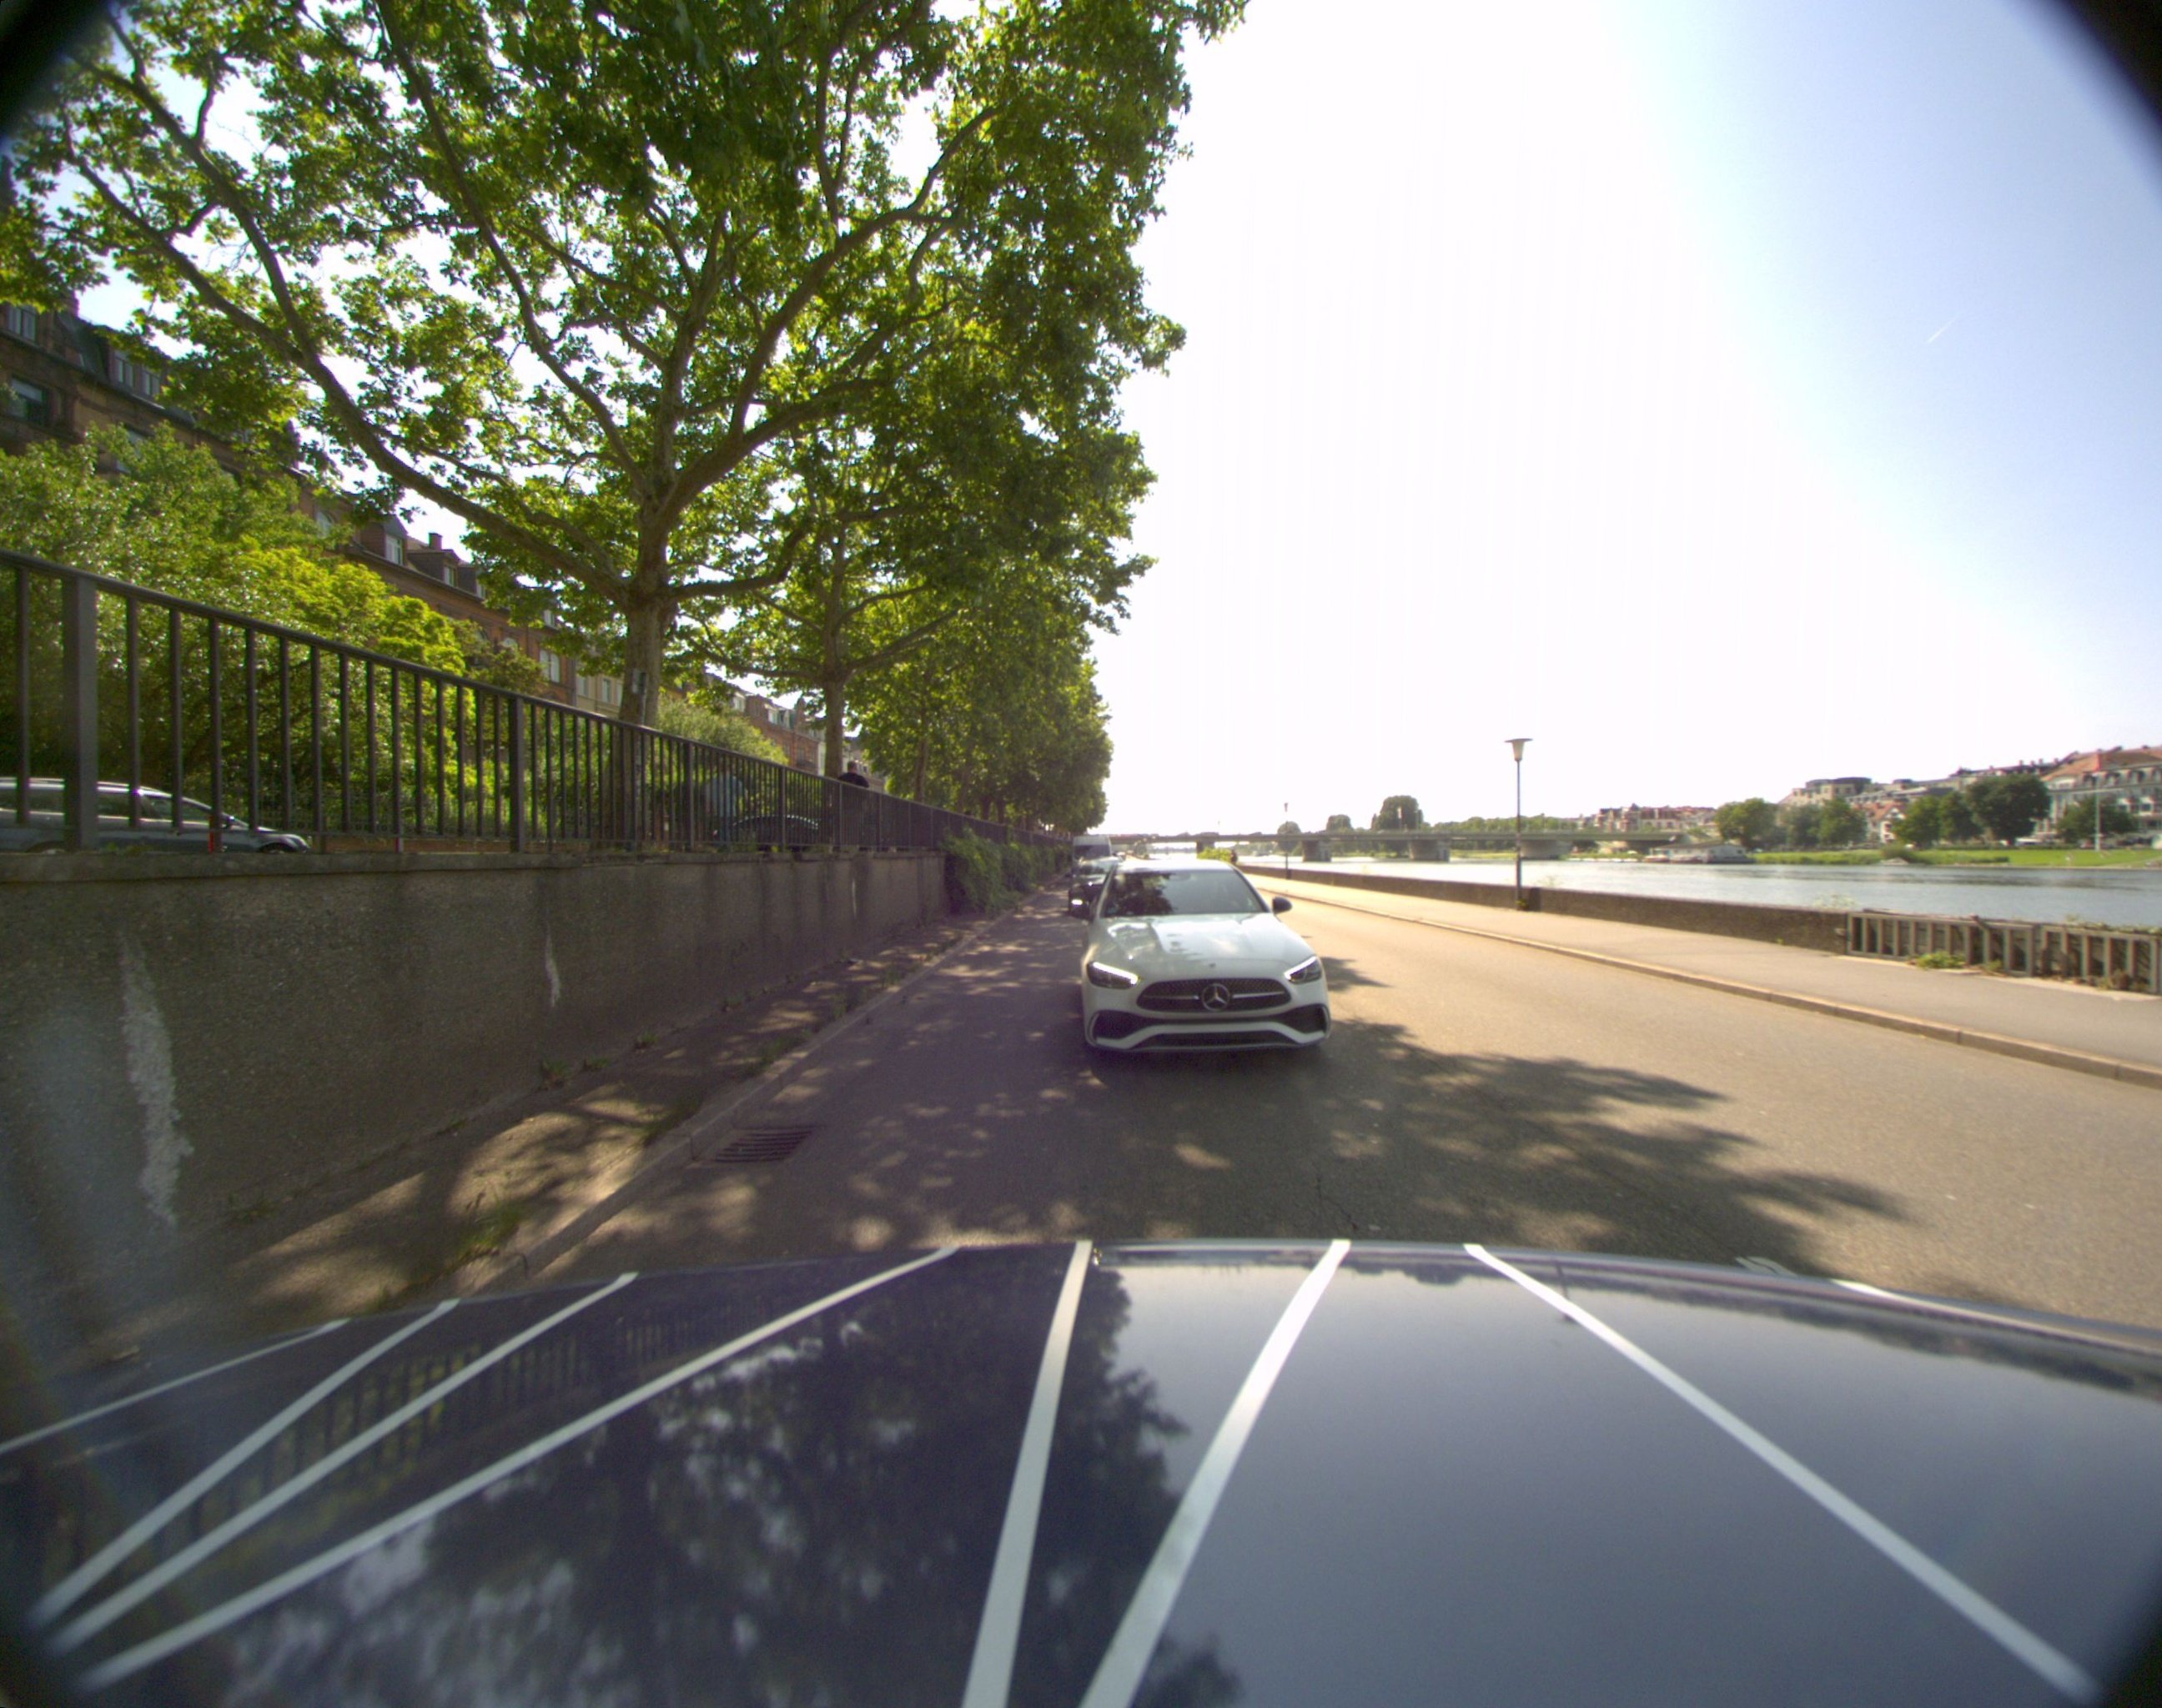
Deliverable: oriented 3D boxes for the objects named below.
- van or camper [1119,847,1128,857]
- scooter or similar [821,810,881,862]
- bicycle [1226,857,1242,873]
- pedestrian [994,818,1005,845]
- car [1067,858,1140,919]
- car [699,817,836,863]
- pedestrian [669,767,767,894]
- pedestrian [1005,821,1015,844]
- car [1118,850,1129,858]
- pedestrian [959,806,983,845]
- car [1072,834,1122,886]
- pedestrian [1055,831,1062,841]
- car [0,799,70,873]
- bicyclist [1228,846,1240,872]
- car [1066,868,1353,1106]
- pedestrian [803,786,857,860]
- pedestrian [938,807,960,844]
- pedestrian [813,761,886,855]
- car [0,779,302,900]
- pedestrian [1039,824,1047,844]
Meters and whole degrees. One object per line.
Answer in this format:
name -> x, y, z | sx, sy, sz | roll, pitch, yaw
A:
van or camper -> 11.001, -0.570, 198.794 | 2.082, 2.384, 5.385 | 1, 0, 1
scooter or similar -> -4.744, -0.366, 15.753 | 0.857, 1.020, 1.107 | 2, 1, 0
bicycle -> 9.982, 0.731, 49.554 | 0.634, 1.006, 1.986 | 0, 0, 0
pedestrian -> -4.974, -1.389, 46.383 | 0.649, 1.630, 0.626 | 0, 1, -7
car -> 0.558, 0.844, 20.750 | 1.756, 1.385, 4.619 | -2, 0, 0
car -> -9.408, -0.417, 22.888 | 3.528, 1.228, 1.515 | 2, 1, 11
pedestrian -> -4.341, -0.269, 9.149 | 0.682, 1.416, 0.949 | 2, 1, 0
pedestrian -> -4.376, -1.291, 46.523 | 0.586, 1.411, 0.589 | 0, 1, -7
car -> 7.785, 0.056, 139.500 | 1.736, 1.433, 4.045 | 1, 0, 0
pedestrian -> -4.037, -1.034, 27.975 | 0.755, 1.358, 0.814 | 2, 1, -1
car -> 0.776, 0.276, 38.664 | 2.351, 2.429, 6.208 | 0, 0, 0
pedestrian -> -2.728, -2.176, 91.806 | 0.713, 1.236, 0.742 | 0, 1, 0
car -> -24.309, -0.341, 15.957 | 3.794, 1.528, 1.792 | -1, 0, 1
bicyclist -> 9.976, 0.311, 49.559 | 0.639, 1.664, 0.871 | 0, 1, 0
car -> 0.889, 0.915, 7.225 | 1.830, 1.411, 4.552 | -2, 0, 1
pedestrian -> -4.855, -0.580, 14.761 | 0.682, 1.358, 0.989 | 2, 1, 0
pedestrian -> -4.920, -1.057, 28.376 | 0.645, 1.358, 0.794 | 2, 1, -1
pedestrian -> -4.091, -0.790, 13.489 | 0.939, 1.570, 1.027 | 2, 1, -1
car -> -14.378, -0.203, 10.841 | 1.841, 1.504, 4.429 | 1, 0, 3
pedestrian -> -3.095, -1.653, 62.195 | 0.666, 1.582, 0.651 | 0, 1, 1
